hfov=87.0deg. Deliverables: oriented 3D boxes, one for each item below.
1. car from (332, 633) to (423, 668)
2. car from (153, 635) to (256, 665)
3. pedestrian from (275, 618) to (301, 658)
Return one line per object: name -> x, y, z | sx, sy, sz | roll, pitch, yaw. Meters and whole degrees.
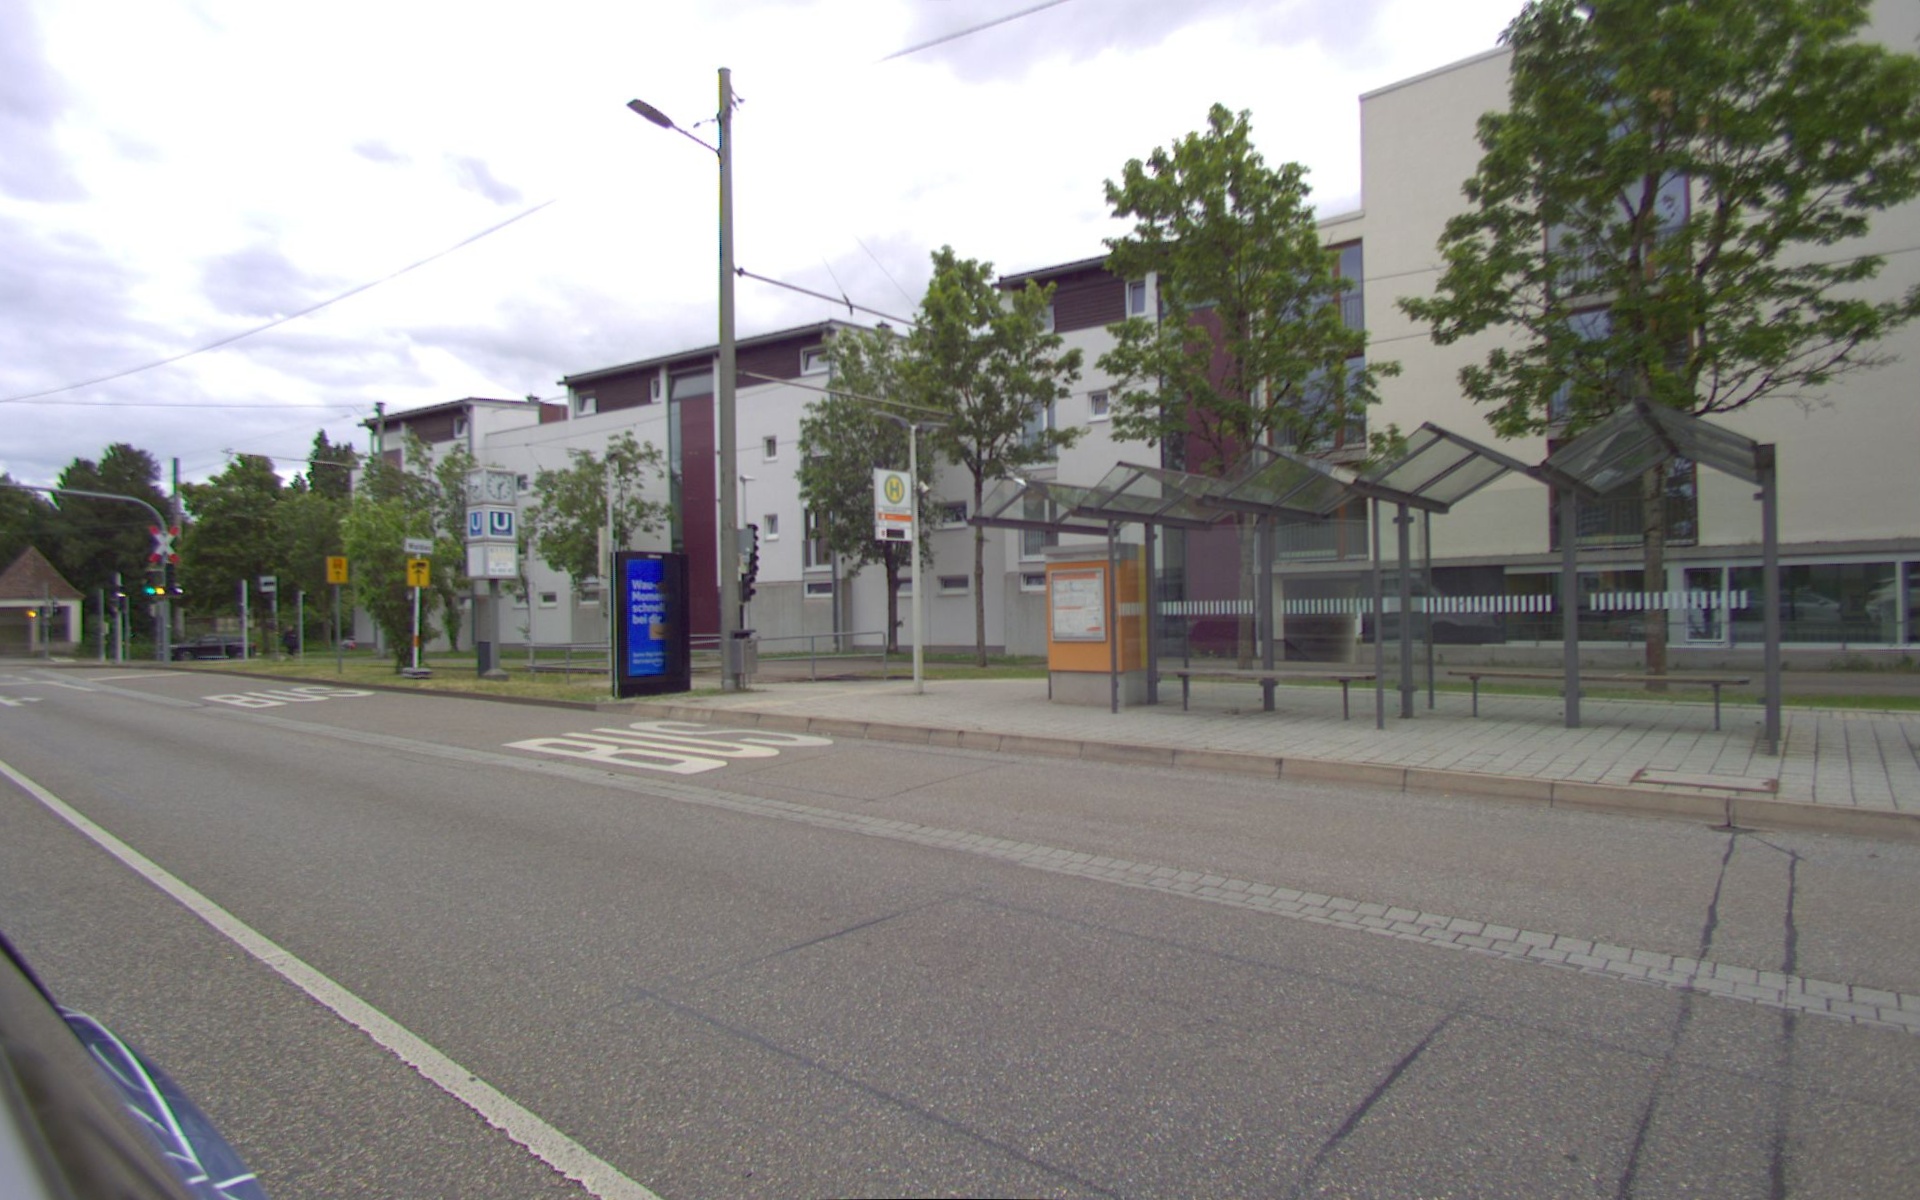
car -> -36.188, 3.183, 62.980 | 1.994, 2.029, 4.418 | -1, -5, 33
car -> -44.486, 2.960, 59.697 | 1.960, 1.682, 4.438 | -1, -4, 32
pedestrian -> -28.989, 1.646, 43.646 | 0.817, 1.657, 0.669 | -4, -4, 34
